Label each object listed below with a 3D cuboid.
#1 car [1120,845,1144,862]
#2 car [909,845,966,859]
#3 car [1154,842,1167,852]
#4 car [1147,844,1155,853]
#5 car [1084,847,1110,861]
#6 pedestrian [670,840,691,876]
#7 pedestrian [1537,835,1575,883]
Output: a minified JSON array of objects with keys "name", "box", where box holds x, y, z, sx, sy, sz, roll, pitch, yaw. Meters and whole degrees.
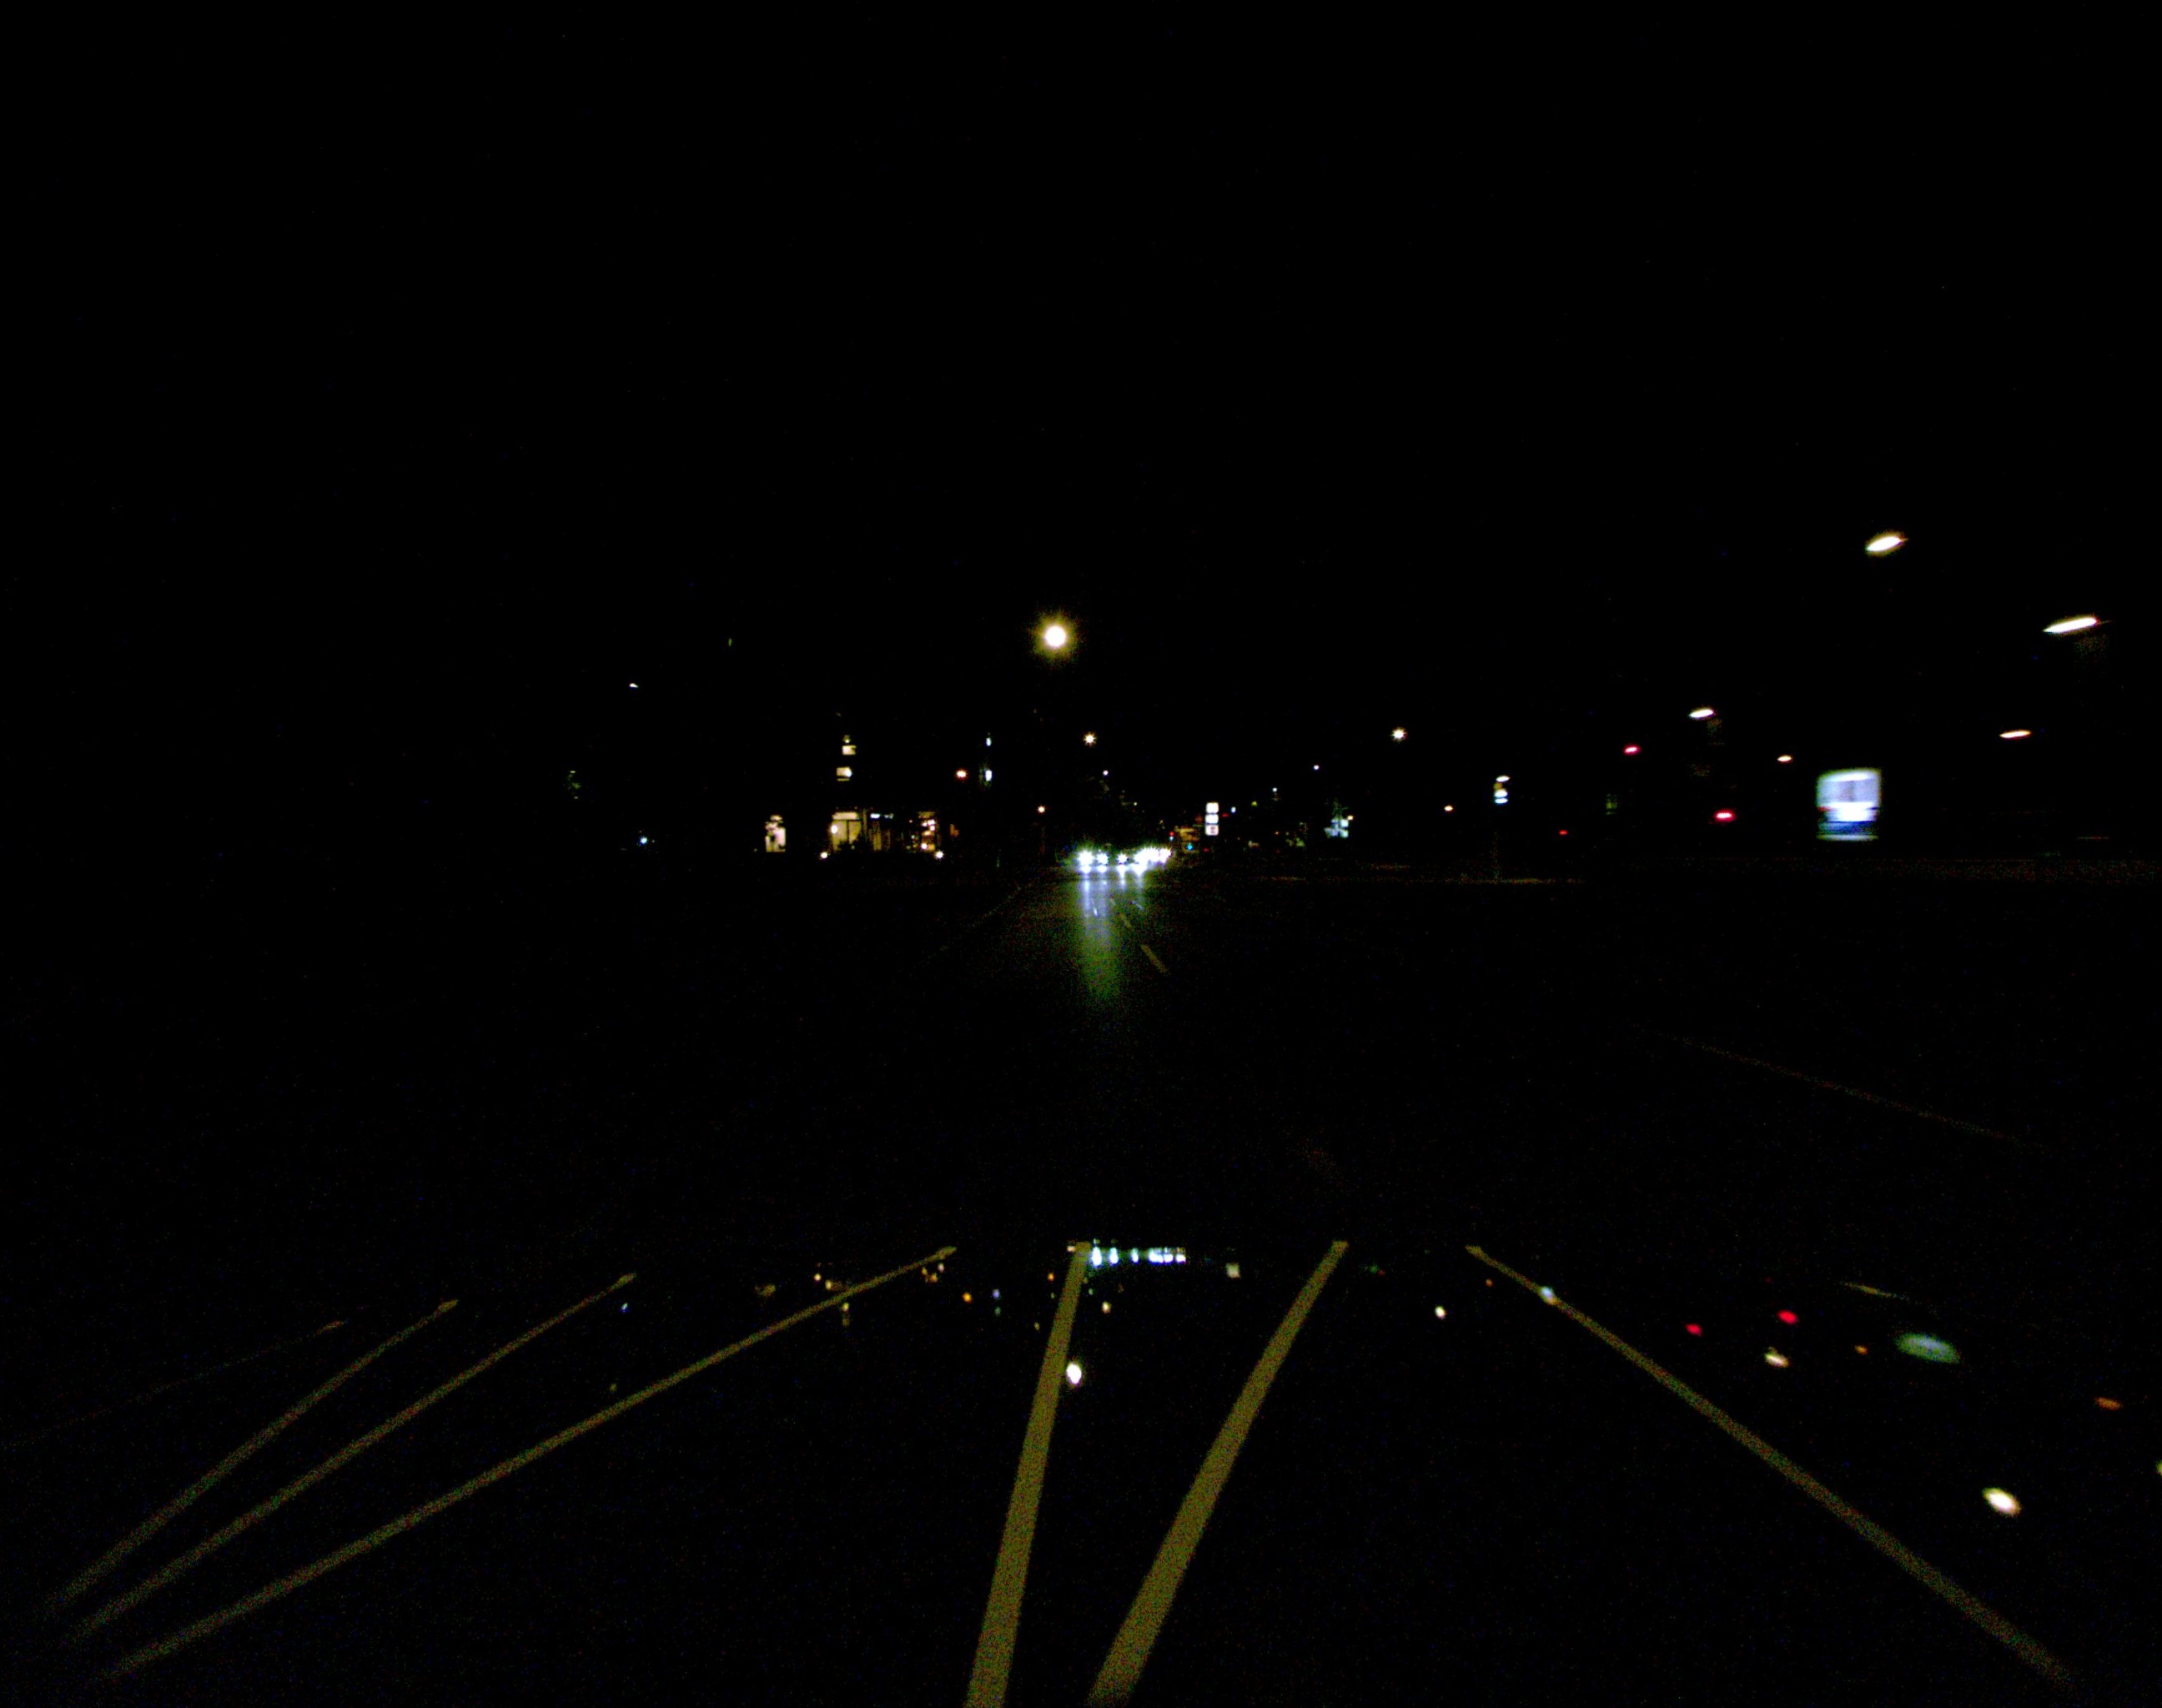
[{"name":"car","box":[4.675,-0.048,69.002,1.858,1.482,3.561,-1,0,8]},{"name":"car","box":[-10.701,-0.107,56.902,4.008,1.028,1.480,0,0,-39]},{"name":"car","box":[13.204,-1.134,126.530,1.907,1.609,3.719,-1,1,3]},{"name":"car","box":[15.035,-1.186,162.989,1.827,1.696,4.001,-1,1,6]},{"name":"car","box":[1.526,-0.023,69.656,1.947,1.299,3.907,1,1,8]},{"name":"pedestrian","box":[-21.158,0.220,40.160,0.664,1.866,0.731,-1,1,-1]},{"name":"pedestrian","box":[17.107,0.176,27.348,1.053,1.678,0.822,1,1,37]}]
